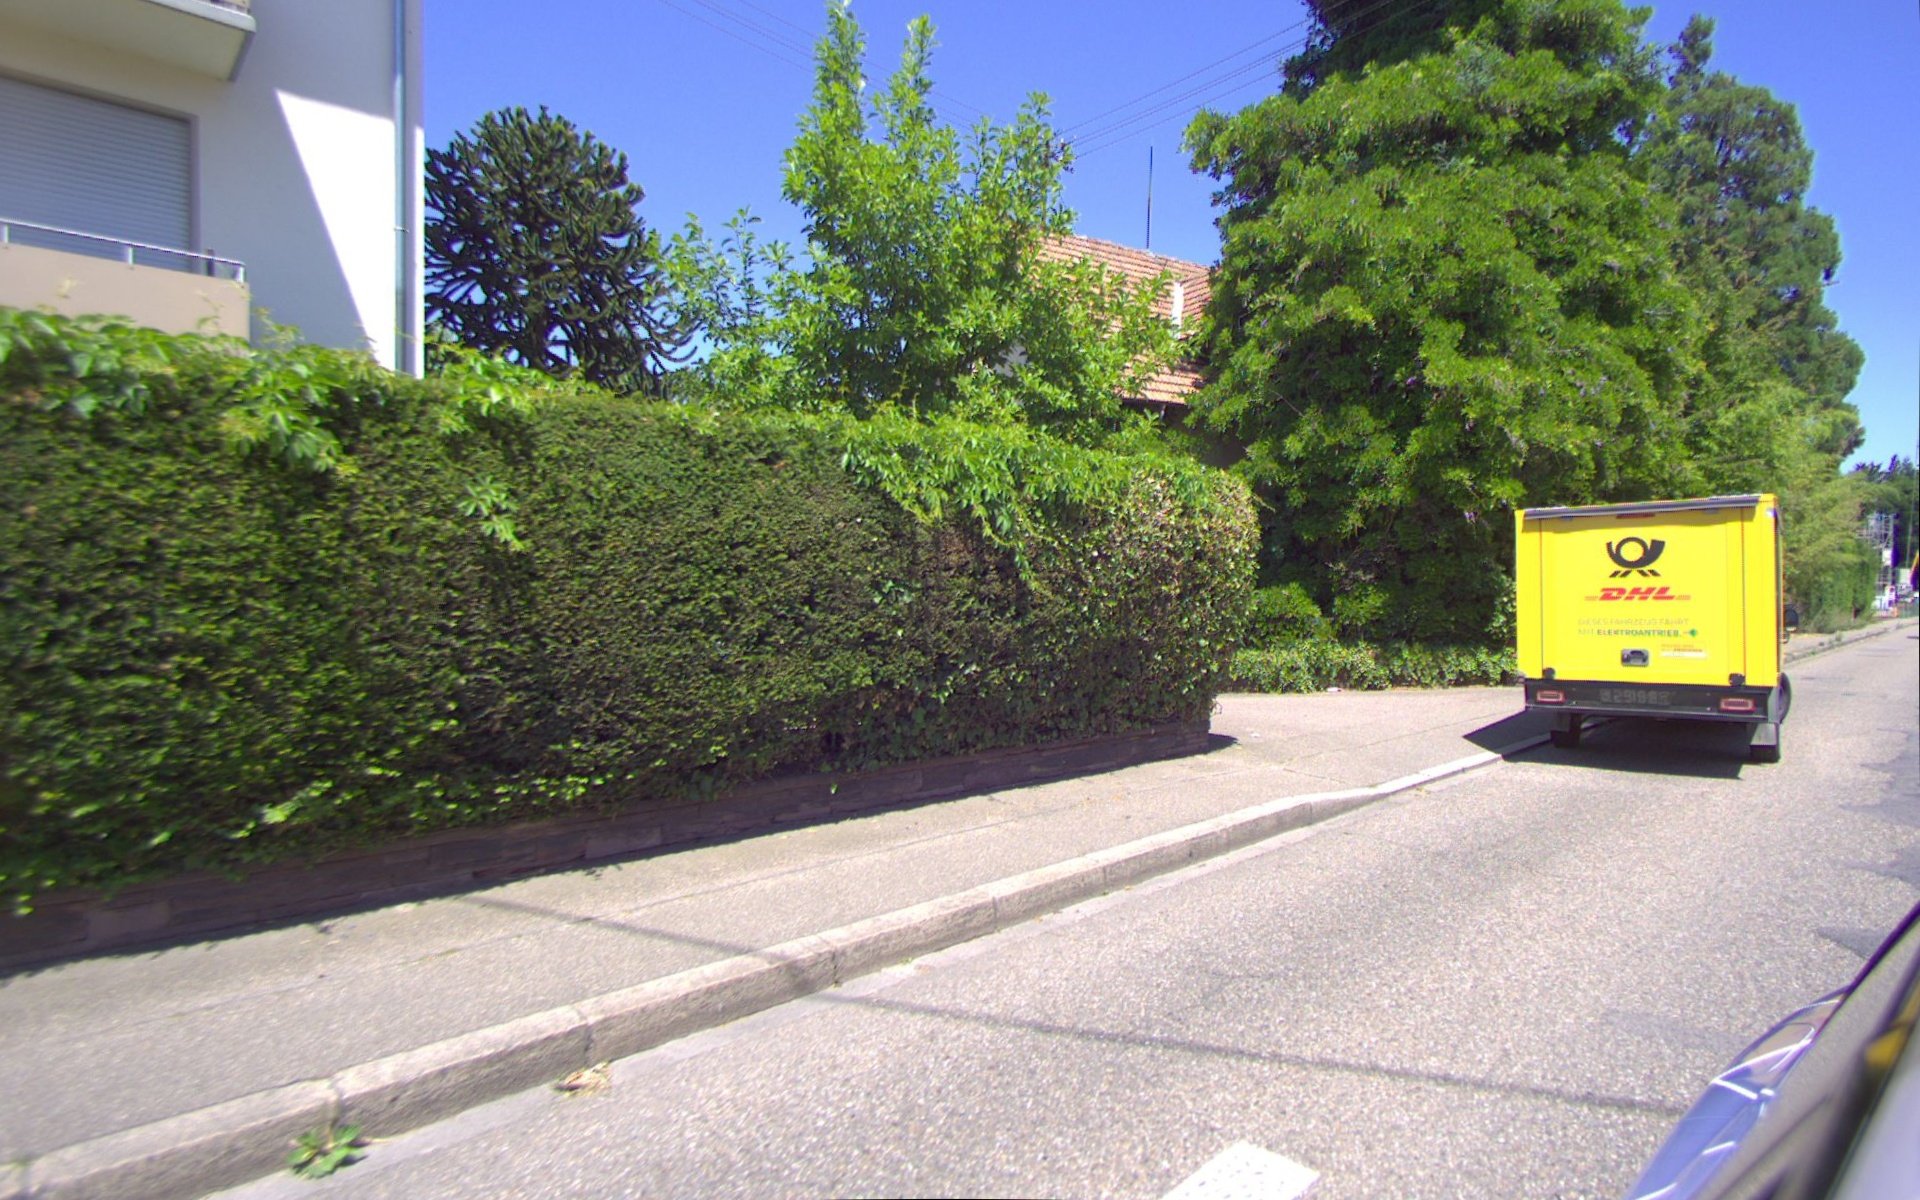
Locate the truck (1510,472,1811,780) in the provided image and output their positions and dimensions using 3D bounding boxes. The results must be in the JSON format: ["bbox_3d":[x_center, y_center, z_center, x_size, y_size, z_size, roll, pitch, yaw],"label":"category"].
[{"bbox_3d":[7.626,0.171,10.659,2.011,2.337,6.086,1,1,40],"label":"truck"}]
